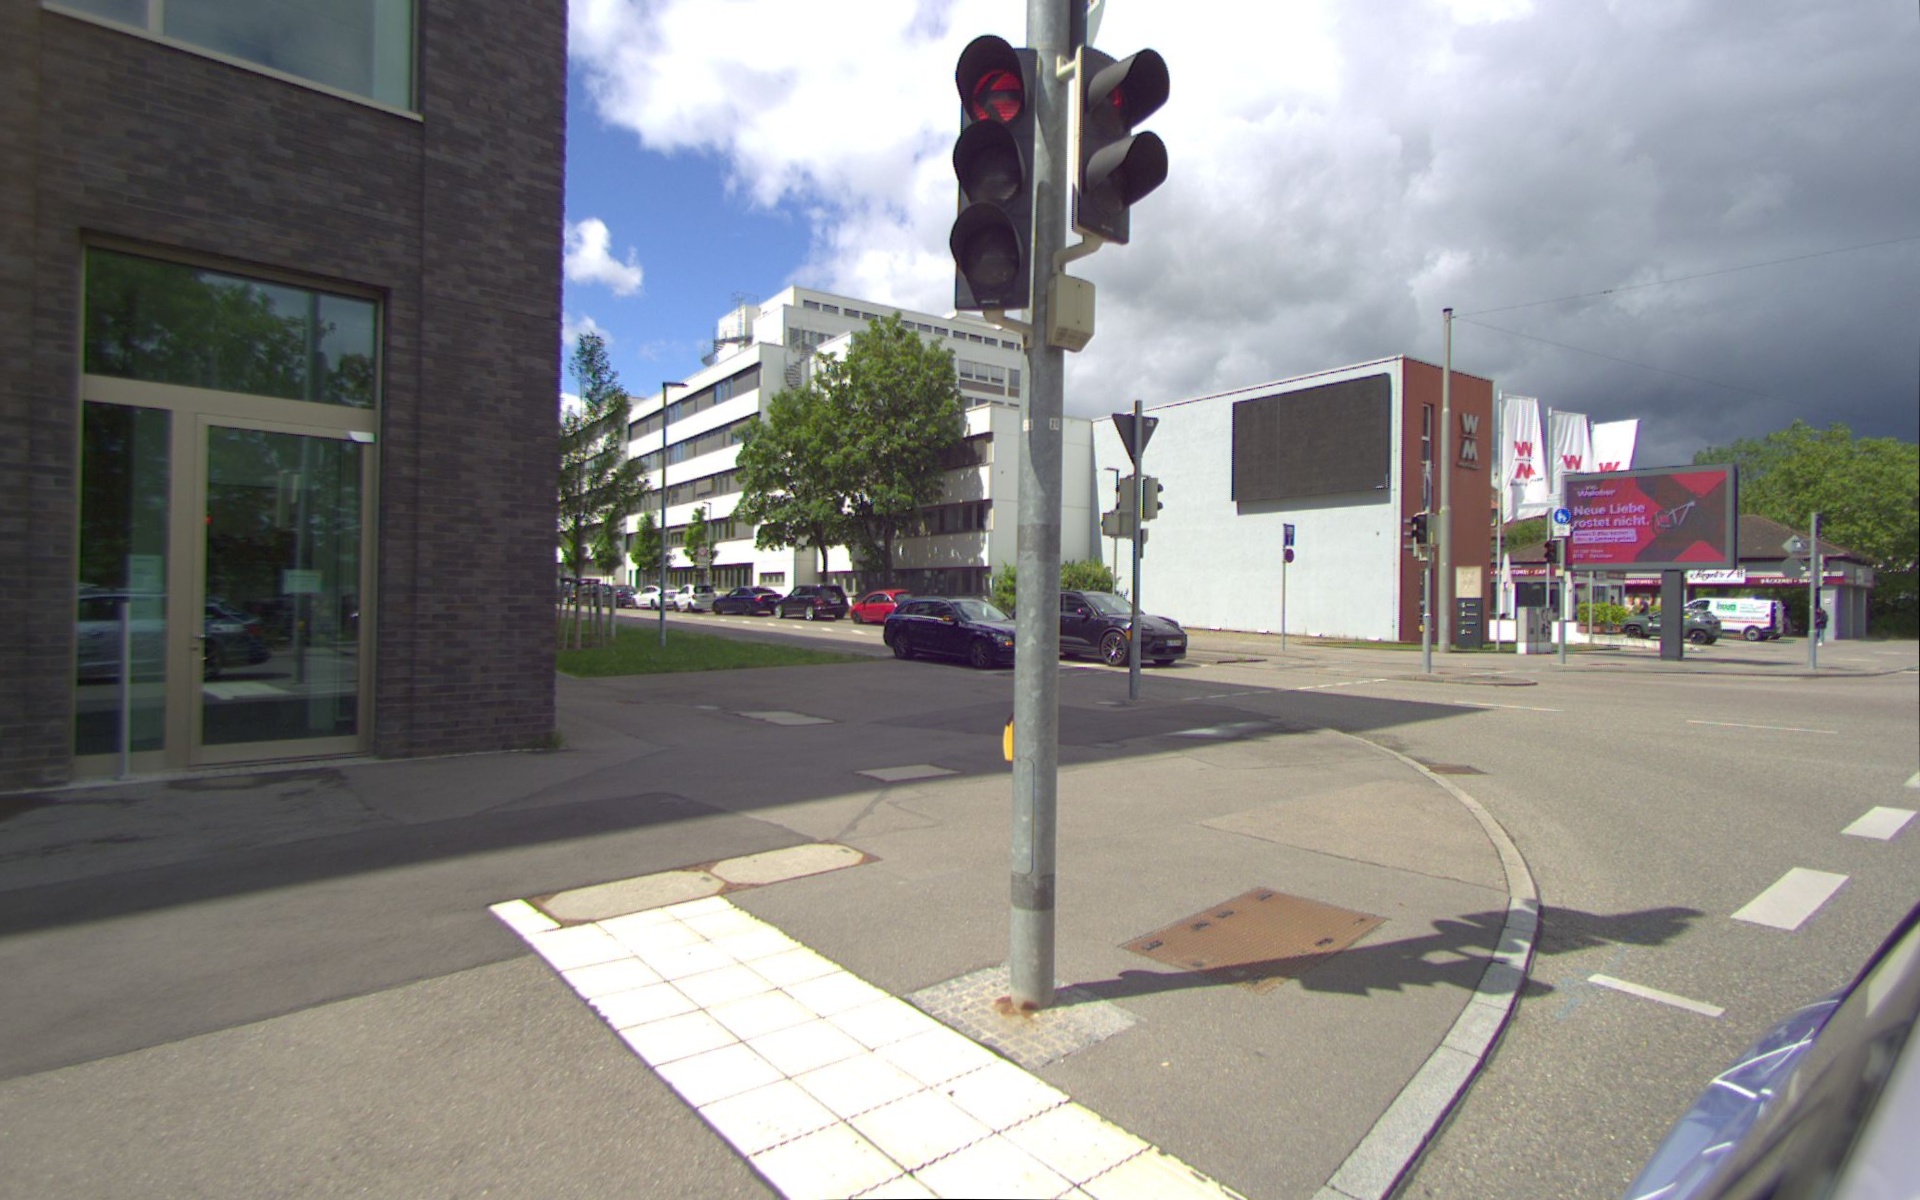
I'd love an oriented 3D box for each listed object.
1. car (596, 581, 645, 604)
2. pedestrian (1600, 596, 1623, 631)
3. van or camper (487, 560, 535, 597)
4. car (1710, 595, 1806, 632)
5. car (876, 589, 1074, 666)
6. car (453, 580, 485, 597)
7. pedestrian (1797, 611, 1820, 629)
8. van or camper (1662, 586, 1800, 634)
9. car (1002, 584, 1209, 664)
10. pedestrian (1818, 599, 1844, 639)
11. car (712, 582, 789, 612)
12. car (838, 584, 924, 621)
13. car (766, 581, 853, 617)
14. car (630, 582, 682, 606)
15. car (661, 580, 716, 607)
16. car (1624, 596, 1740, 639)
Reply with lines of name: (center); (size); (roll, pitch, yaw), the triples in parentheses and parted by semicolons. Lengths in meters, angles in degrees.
car: (-20.939, -0.423, 62.347); (1.472, 1.357, 3.528); (1, -1, -44)
pedestrian: (32.351, 0.660, 50.244); (0.558, 1.729, 0.752); (1, 0, -13)
van or camper: (-35.163, -1.673, 79.190); (1.965, 2.772, 5.116); (1, 0, -41)
car: (40.081, 0.646, 50.848); (1.804, 1.503, 3.458); (0, 5, -42)
car: (0.228, 0.523, 22.657); (1.964, 1.511, 4.534); (0, 1, -40)
car: (-42.164, -1.007, 86.940); (1.472, 1.356, 3.529); (1, 1, -44)
pedestrian: (60.054, 1.390, 71.637); (0.945, 1.264, 0.888); (1, -1, -11)
van or camper: (37.473, 0.444, 49.312); (2.172, 1.981, 4.911); (0, 4, -39)
car: (3.287, 0.477, 23.604); (1.965, 1.639, 4.648); (1, 0, -40)
pedestrian: (38.590, 0.841, 44.849); (0.726, 1.728, 0.714); (0, 2, -39)
car: (-10.814, -0.198, 52.110); (4.300, 1.480, 1.841); (1, 2, 45)
car: (-3.452, 0.094, 43.868); (3.669, 1.480, 1.718); (1, 1, 45)
car: (-7.092, -0.083, 47.533); (4.300, 1.589, 1.841); (1, 1, 45)
car: (-17.832, -0.318, 59.233); (1.472, 1.357, 3.528); (1, -1, -44)
car: (-15.132, -0.349, 56.387); (1.472, 1.480, 3.528); (1, -1, -44)
car: (31.407, 0.711, 44.094); (1.729, 1.503, 3.679); (0, 5, -38)
